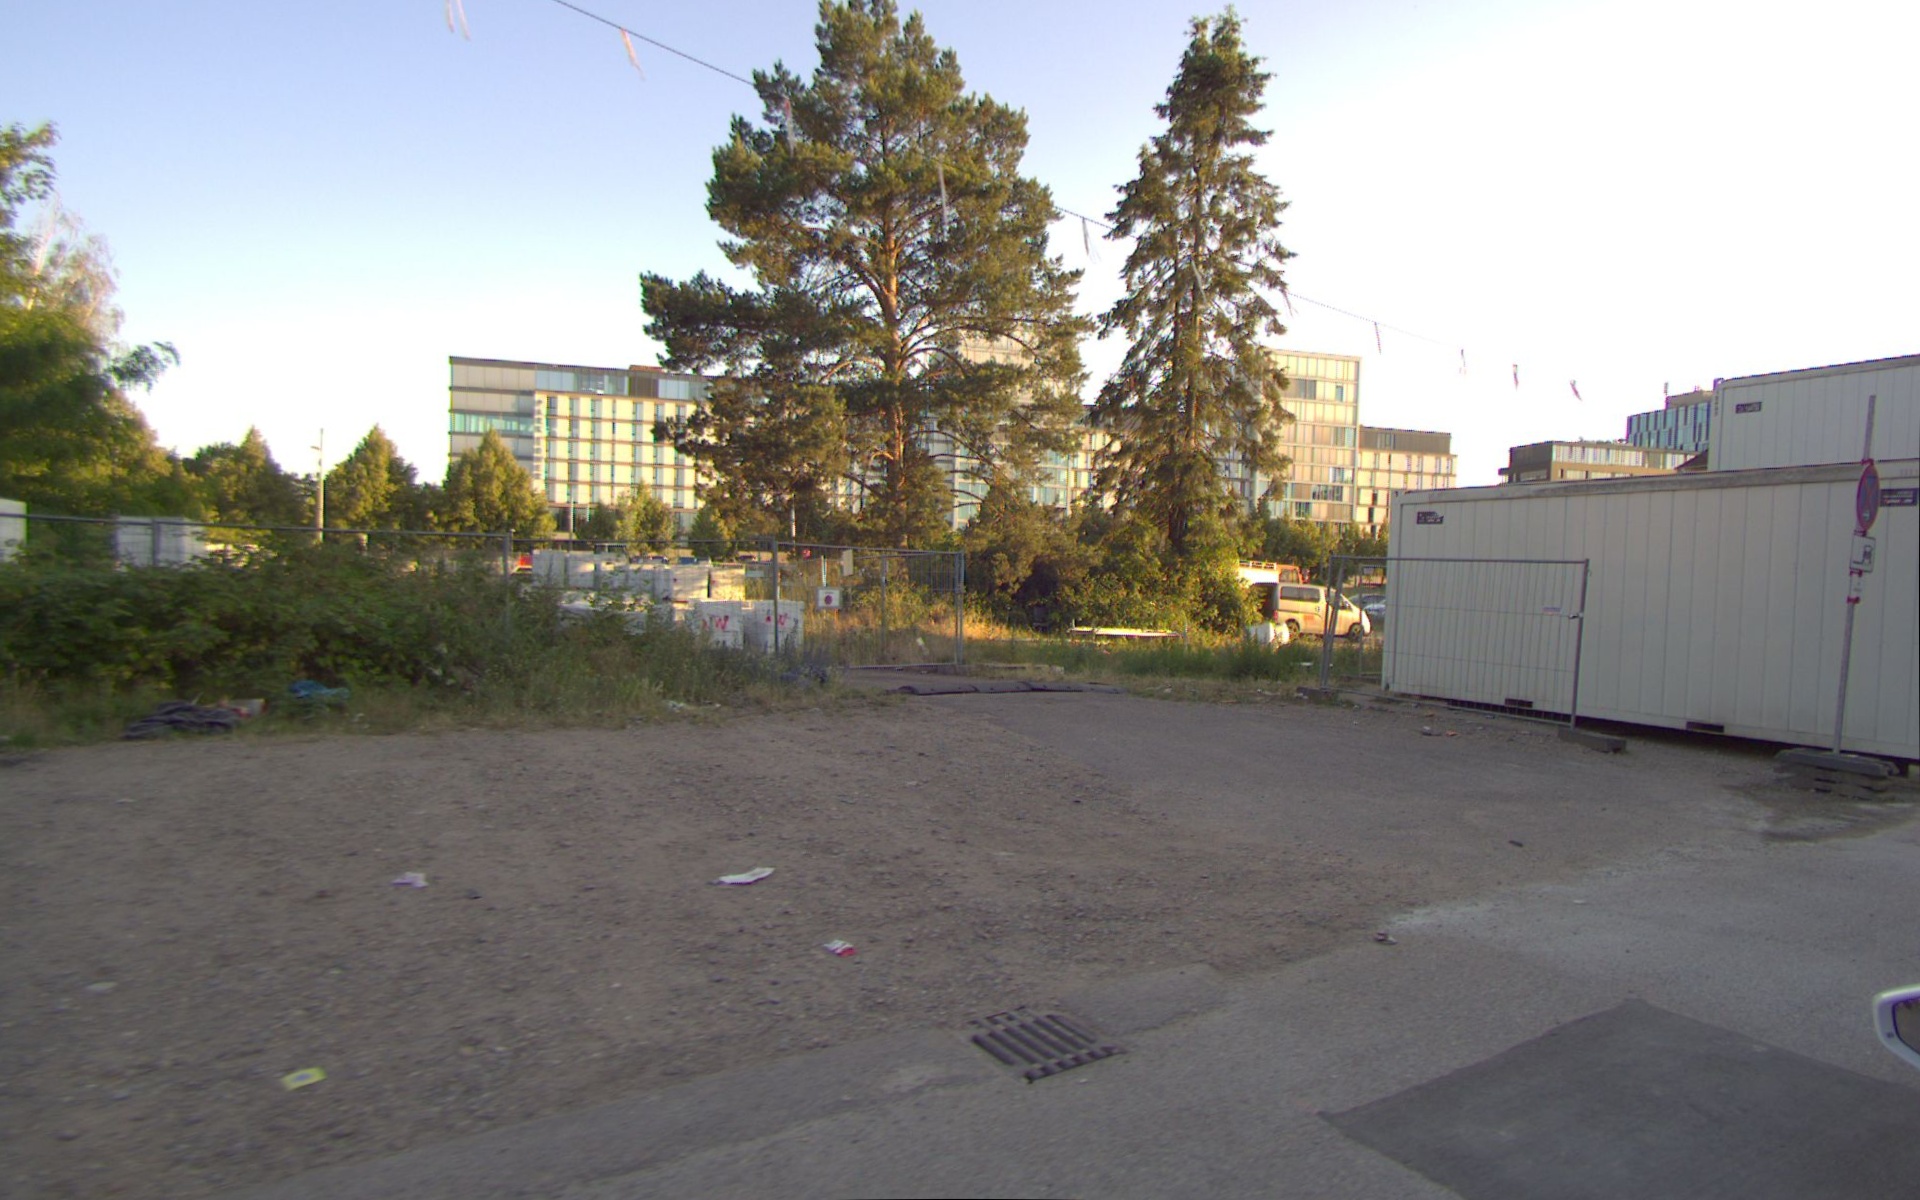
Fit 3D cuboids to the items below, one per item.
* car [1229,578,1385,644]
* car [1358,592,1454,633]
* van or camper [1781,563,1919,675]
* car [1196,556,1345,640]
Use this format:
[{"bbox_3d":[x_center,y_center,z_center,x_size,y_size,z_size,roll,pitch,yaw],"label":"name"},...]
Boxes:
[{"bbox_3d":[11.626,0.374,33.676,4.789,2.001,1.989,2,1,-23],"label":"car"},{"bbox_3d":[23.567,0.658,53.071,4.794,2.001,1.987,2,1,-26],"label":"car"},{"bbox_3d":[28.239,0.578,27.380,2.563,3.090,8.727,1,1,-28],"label":"van or camper"},{"bbox_3d":[11.009,-0.065,35.619,4.788,2.728,1.989,2,1,-23],"label":"car"}]
